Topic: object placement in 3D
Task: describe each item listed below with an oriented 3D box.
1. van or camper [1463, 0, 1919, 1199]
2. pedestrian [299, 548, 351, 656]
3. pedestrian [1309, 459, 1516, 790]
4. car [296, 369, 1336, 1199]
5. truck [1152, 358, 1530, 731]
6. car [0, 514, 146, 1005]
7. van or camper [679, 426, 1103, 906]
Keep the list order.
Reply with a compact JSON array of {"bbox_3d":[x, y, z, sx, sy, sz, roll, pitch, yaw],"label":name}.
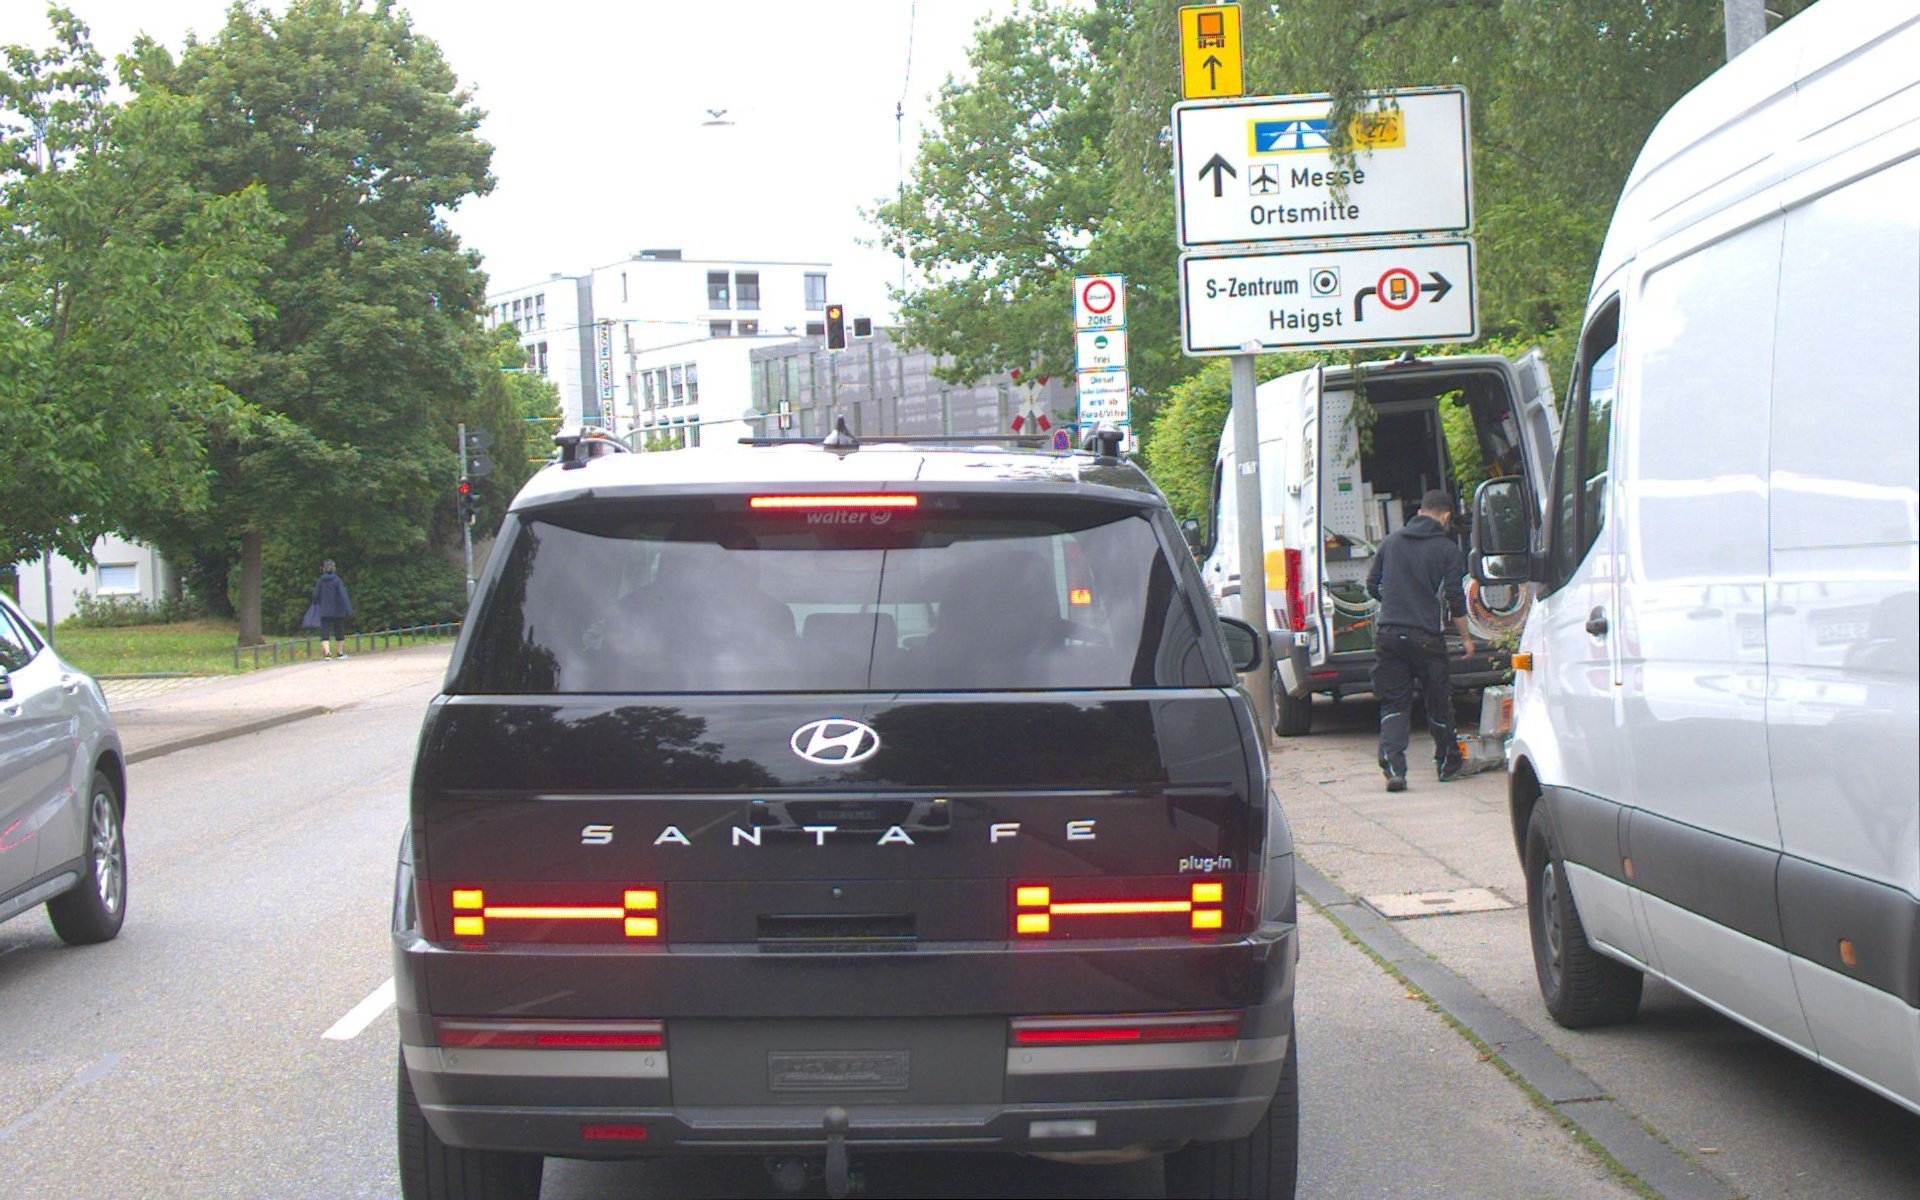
[{"bbox_3d":[2.632,-0.058,7.398,1.993,2.611,6.541,-2,1,-1],"label":"van or camper"},{"bbox_3d":[-10.305,0.029,55.796,0.738,1.709,0.793,-2,1,-7],"label":"pedestrian"},{"bbox_3d":[2.536,0.125,19.227,0.759,1.791,0.871,-1,1,38],"label":"pedestrian"},{"bbox_3d":[-0.282,0.456,8.277,1.889,1.813,4.000,0,1,-1],"label":"car"},{"bbox_3d":[2.872,-0.418,27.172,1.942,2.553,5.217,-3,1,-4],"label":"truck"},{"bbox_3d":[-4.168,0.592,11.819,1.785,1.648,4.121,-4,1,-2],"label":"car"},{"bbox_3d":[-0.318,0.250,16.754,1.754,2.007,4.000,-2,1,-1],"label":"van or camper"}]
